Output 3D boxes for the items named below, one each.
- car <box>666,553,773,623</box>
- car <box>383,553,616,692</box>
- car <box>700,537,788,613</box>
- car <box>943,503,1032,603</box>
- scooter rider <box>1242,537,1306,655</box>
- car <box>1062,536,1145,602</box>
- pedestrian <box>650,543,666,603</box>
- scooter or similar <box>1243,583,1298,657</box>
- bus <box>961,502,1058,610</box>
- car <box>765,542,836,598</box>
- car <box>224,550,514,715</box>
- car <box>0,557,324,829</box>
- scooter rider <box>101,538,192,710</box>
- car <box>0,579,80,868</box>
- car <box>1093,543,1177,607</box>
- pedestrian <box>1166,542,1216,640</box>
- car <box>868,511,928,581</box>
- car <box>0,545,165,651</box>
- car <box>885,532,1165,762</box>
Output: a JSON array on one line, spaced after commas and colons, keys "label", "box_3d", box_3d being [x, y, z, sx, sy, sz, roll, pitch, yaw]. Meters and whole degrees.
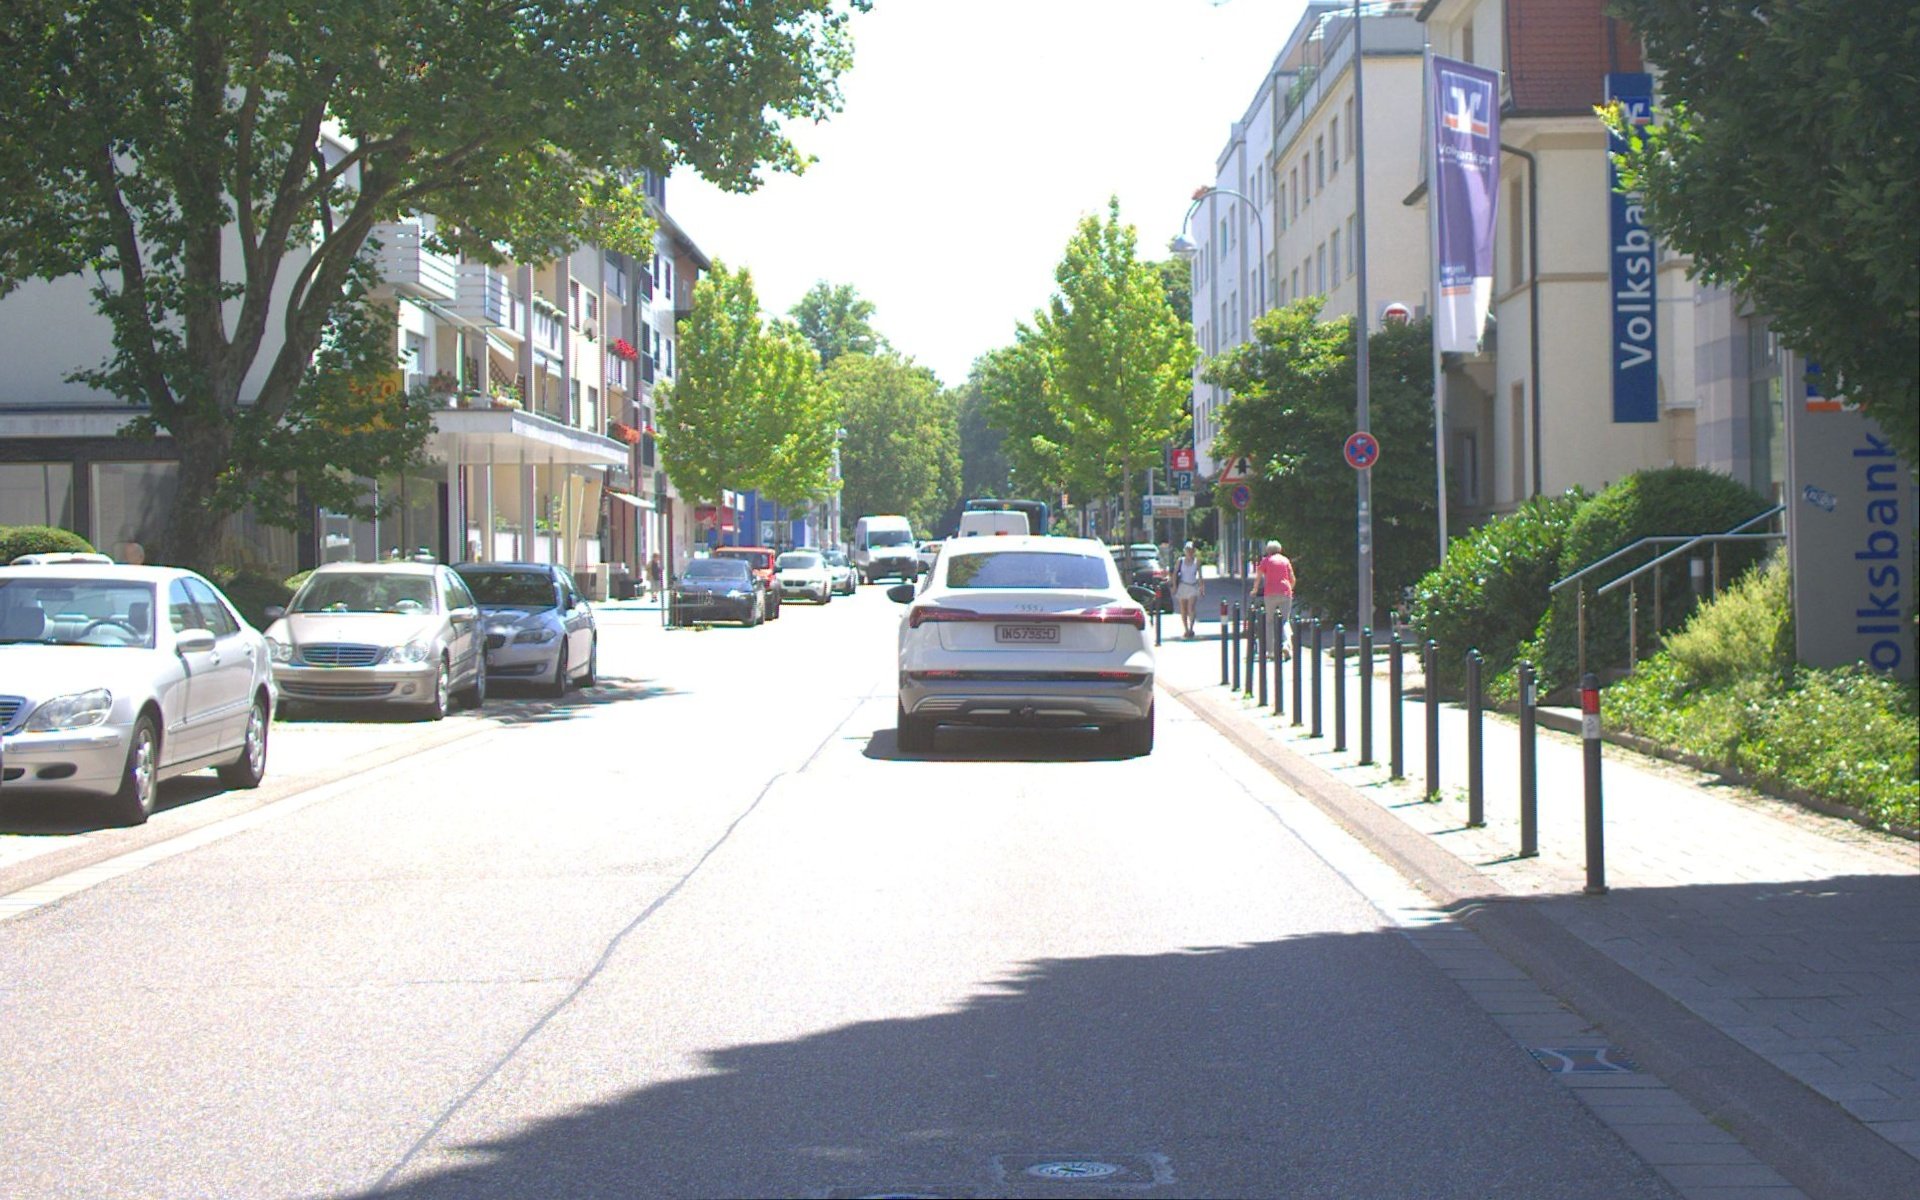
[{"label": "car", "box_3d": [-5.143, -0.281, 74.089, 1.896, 1.412, 5.048, 1, 1, 0]}, {"label": "car", "box_3d": [-5.138, 0.200, 39.010, 1.981, 1.447, 5.151, 0, 1, 0]}, {"label": "car", "box_3d": [-5.035, -0.601, 80.559, 1.752, 1.696, 4.101, 1, 1, 0]}, {"label": "car", "box_3d": [0.720, -1.200, 88.077, 2.156, 2.433, 5.283, 1, 1, 1]}, {"label": "scooter rider", "box_3d": [4.181, -0.062, 45.794, 0.716, 1.543, 0.770, -2, 1, -1]}, {"label": "car", "box_3d": [3.837, -0.857, 92.587, 1.855, 1.669, 4.537, -2, 1, -2]}, {"label": "pedestrian", "box_3d": [-8.807, -0.789, 100.318, 0.394, 1.729, 0.446, -1, 1, -10]}, {"label": "scooter or similar", "box_3d": [4.181, 0.266, 46.394, 0.663, 0.960, 0.754, -1, 1, 1]}, {"label": "bus", "box_3d": [1.598, -1.369, 107.560, 2.661, 3.210, 7.300, 1, 1, 3]}, {"label": "car", "box_3d": [-4.794, -0.909, 103.869, 1.752, 1.612, 4.400, 1, 1, 2]}, {"label": "car", "box_3d": [-5.593, 0.255, 33.122, 1.981, 1.447, 4.868, 0, 1, 0]}, {"label": "car", "box_3d": [-5.498, 0.470, 21.396, 1.981, 1.447, 5.357, 0, 1, 1]}, {"label": "scooter rider", "box_3d": [-7.638, 0.216, 32.311, 0.588, 1.570, 0.877, 2, 1, 2]}, {"label": "car", "box_3d": [-5.595, 0.620, 15.328, 1.942, 1.369, 5.098, 0, 1, 1]}, {"label": "car", "box_3d": [4.103, -0.605, 81.096, 1.896, 1.433, 4.544, -1, 1, 2]}, {"label": "pedestrian", "box_3d": [3.942, -0.156, 58.717, 0.700, 1.621, 0.784, -4, 0, 0]}, {"label": "car", "box_3d": [-2.503, -2.124, 136.304, 2.036, 2.621, 7.108, -3, 1, -3]}, {"label": "car", "box_3d": [-13.280, -0.054, 50.811, 1.891, 1.481, 3.996, -1, 1, -30]}, {"label": "car", "box_3d": [0.446, 0.308, 26.721, 1.993, 1.627, 4.000, 1, 1, -1]}]
